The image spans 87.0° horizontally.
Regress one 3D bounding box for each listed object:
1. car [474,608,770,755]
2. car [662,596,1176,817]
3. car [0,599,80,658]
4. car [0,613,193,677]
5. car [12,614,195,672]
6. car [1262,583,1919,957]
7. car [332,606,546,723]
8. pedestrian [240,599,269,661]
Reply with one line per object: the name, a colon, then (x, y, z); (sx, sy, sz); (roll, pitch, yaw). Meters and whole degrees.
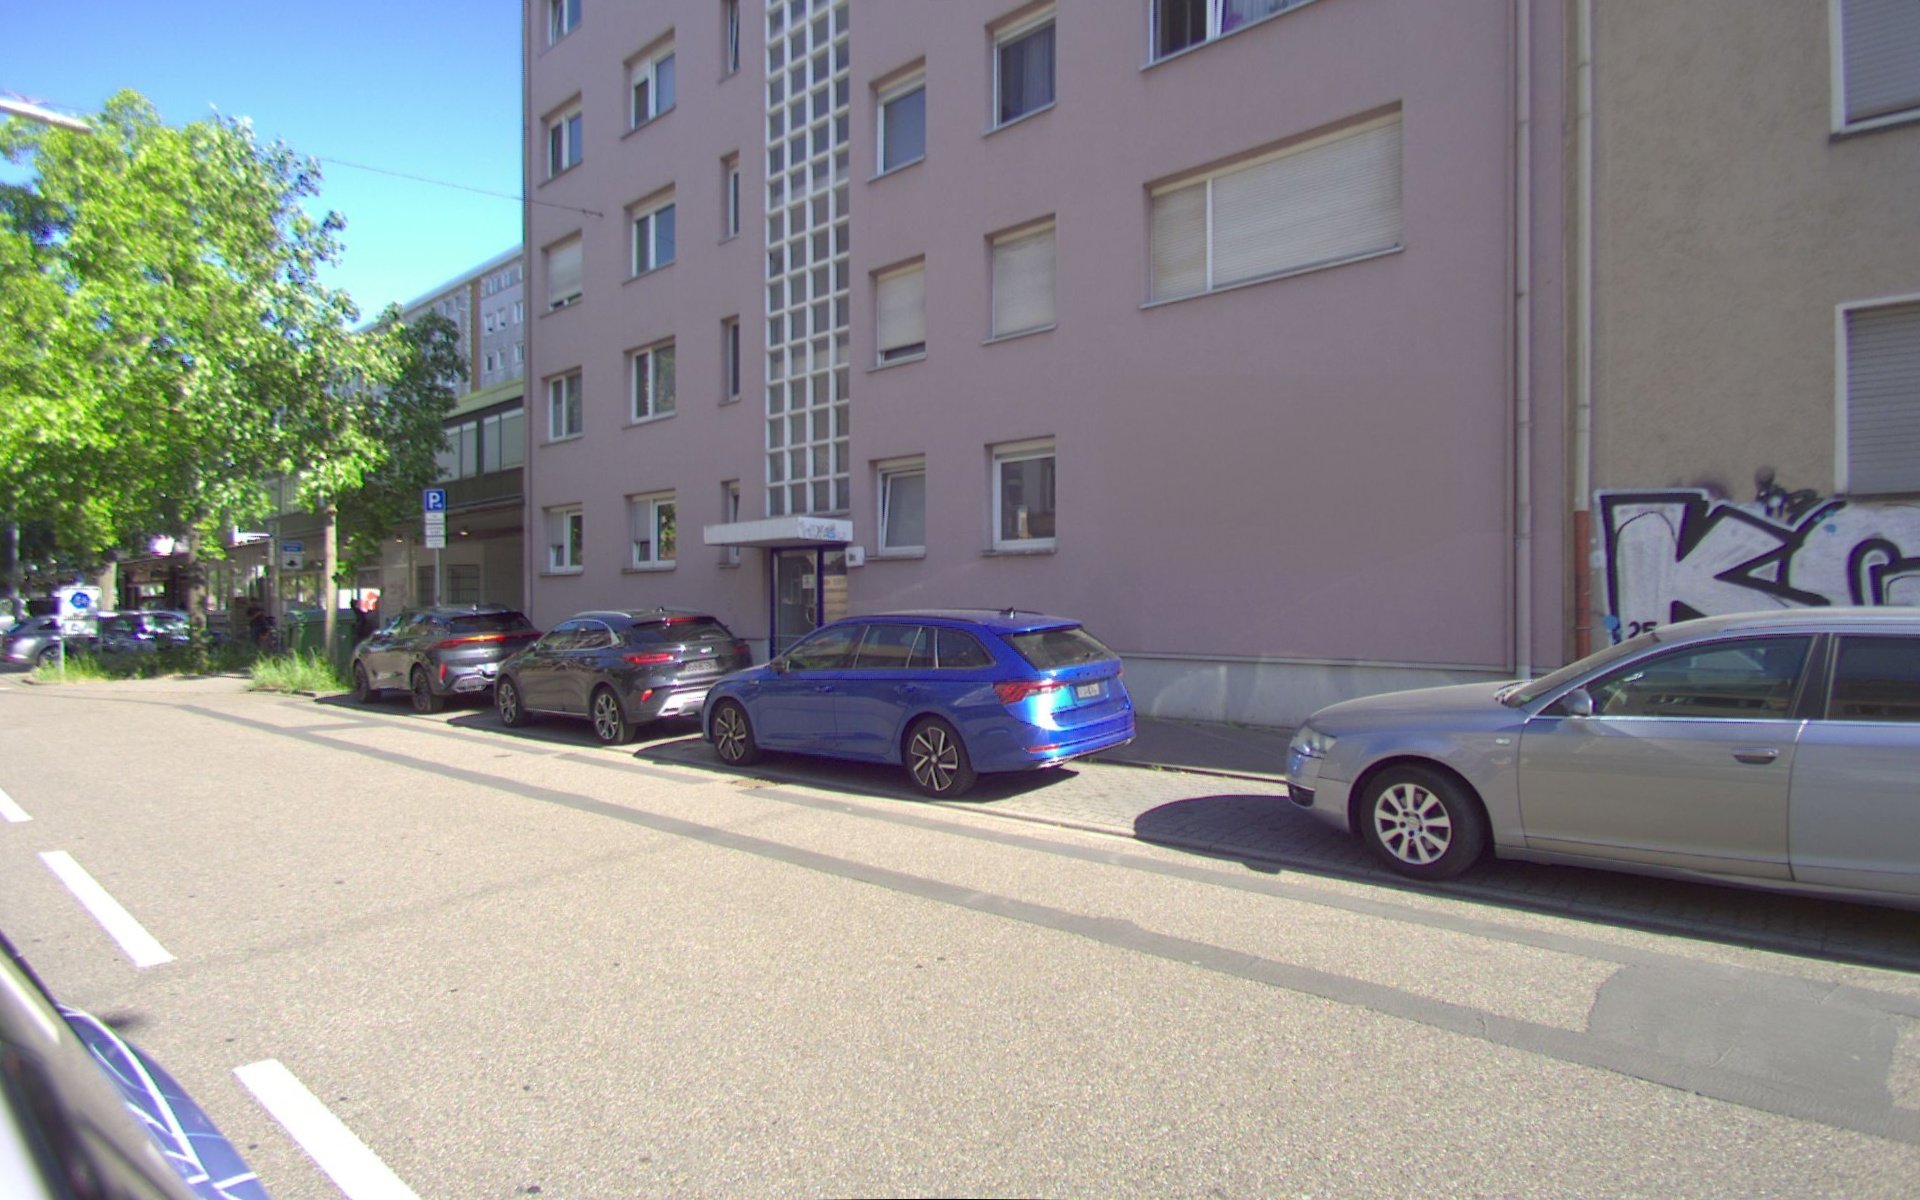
car: (-4.362, 0.889, 12.714); (4.157, 1.478, 1.704); (-1, 1, 43)
car: (-0.594, 0.789, 9.429); (4.797, 1.514, 1.805); (-1, 1, 40)
car: (-34.117, 1.011, 36.191); (1.913, 2.058, 3.824); (-1, -1, 43)
car: (-23.248, 1.144, 27.207); (1.913, 1.564, 3.943); (-1, -1, 43)
car: (-25.222, 1.207, 29.883); (1.913, 1.564, 3.943); (-1, -1, 43)
car: (4.220, 0.704, 5.166); (4.797, 1.514, 1.805); (-1, 1, 40)
car: (-8.483, 0.936, 16.309); (4.157, 1.588, 1.704); (-1, 1, 43)
pedestrian: (-20.852, 0.880, 29.919); (0.502, 1.820, 0.615); (-1, -1, 42)
